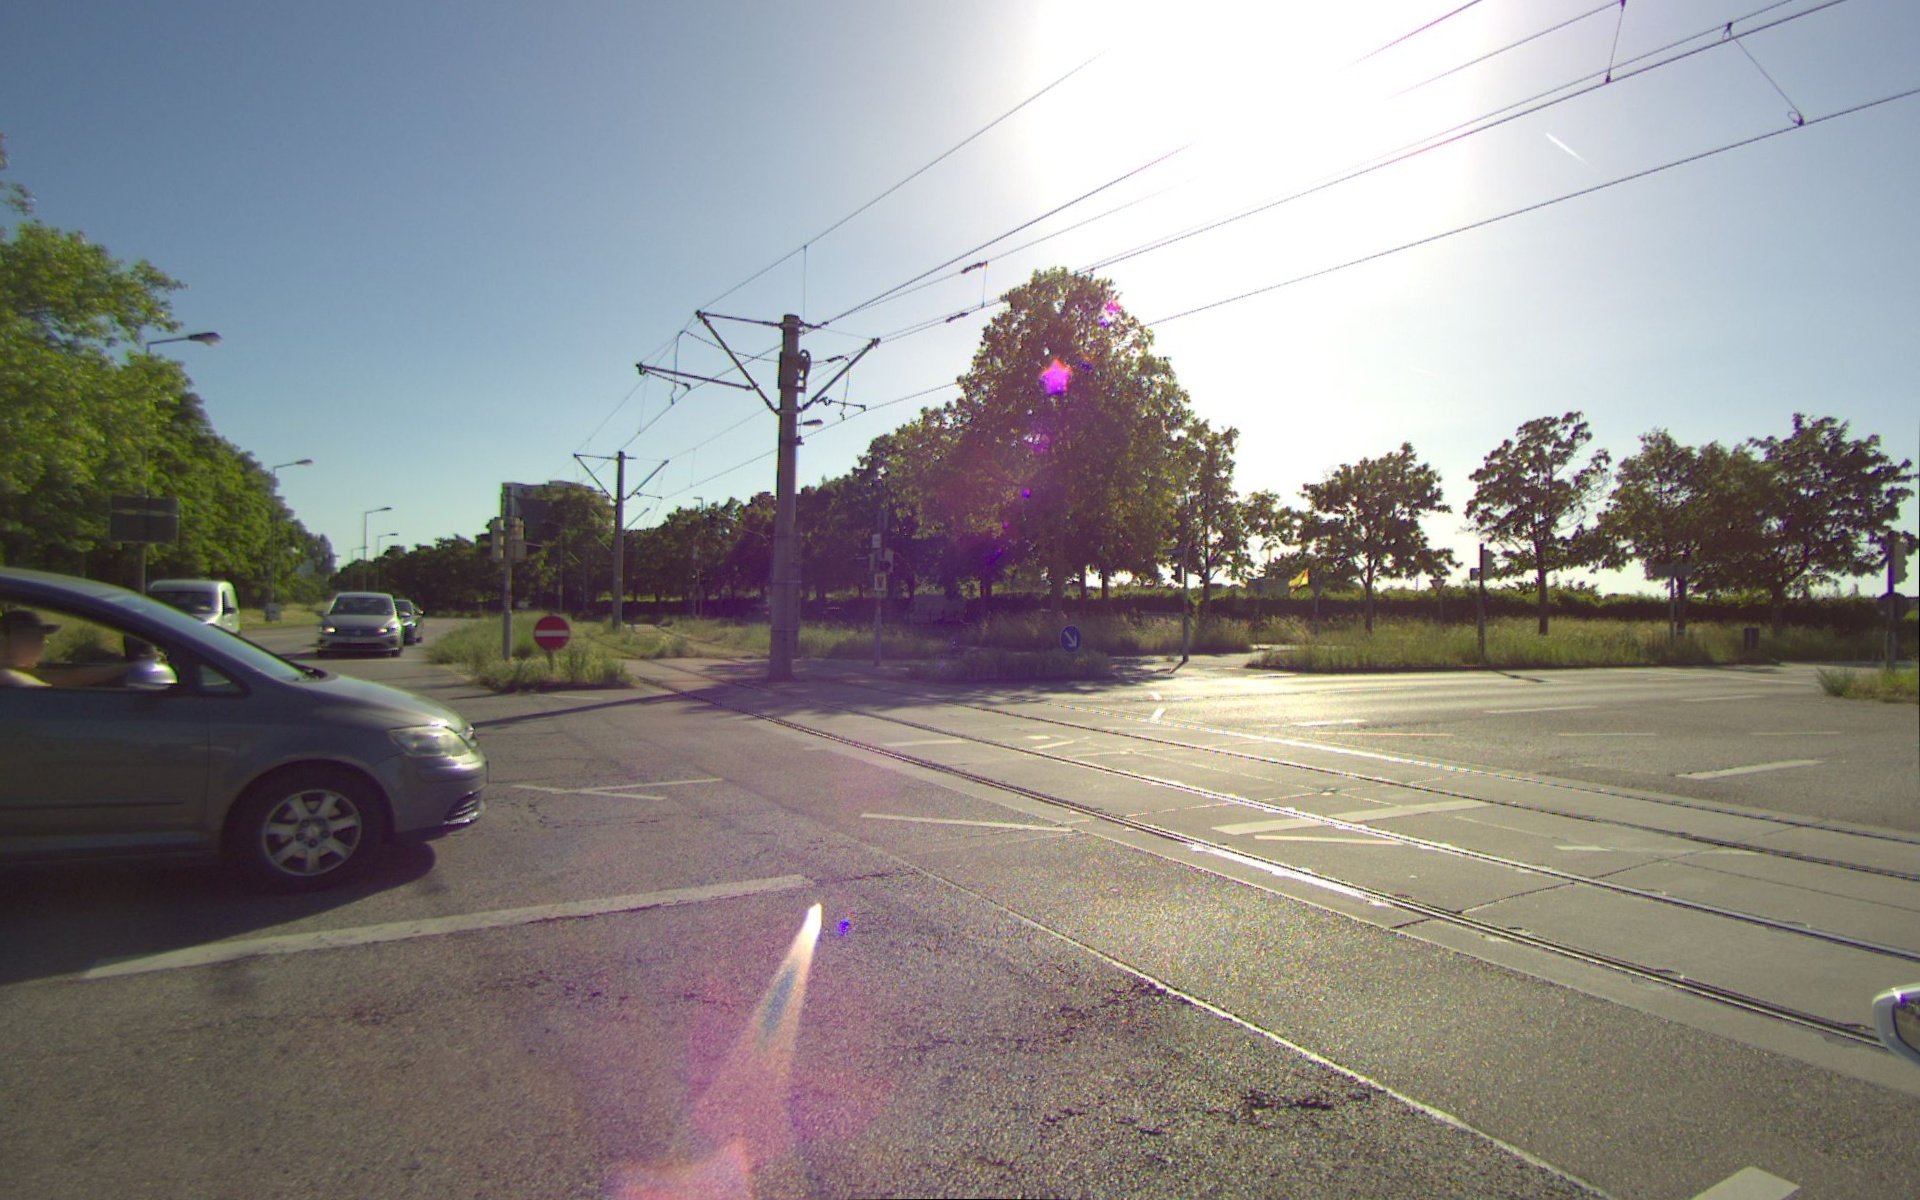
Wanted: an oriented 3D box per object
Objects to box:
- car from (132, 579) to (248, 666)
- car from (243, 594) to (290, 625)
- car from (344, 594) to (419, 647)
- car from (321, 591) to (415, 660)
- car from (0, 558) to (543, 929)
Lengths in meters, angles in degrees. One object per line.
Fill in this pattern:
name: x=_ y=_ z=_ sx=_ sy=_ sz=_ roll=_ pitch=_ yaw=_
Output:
car: x=-17.301 y=0.469 z=22.727 sx=1.759 sy=1.778 sz=3.963 roll=1 pitch=0 yaw=-33
car: x=-37.942 y=0.493 z=55.008 sx=1.832 sy=1.581 sz=3.892 roll=2 pitch=-1 yaw=-31
car: x=-18.477 y=0.619 z=31.989 sx=1.833 sy=1.581 sz=3.889 roll=1 pitch=0 yaw=-33
car: x=-14.971 y=0.589 z=25.301 sx=1.833 sy=1.581 sz=3.889 roll=1 pitch=0 yaw=-33
car: x=-4.591 y=0.622 z=5.102 sx=4.337 sy=1.591 sz=1.832 roll=1 pitch=-1 yaw=-32
